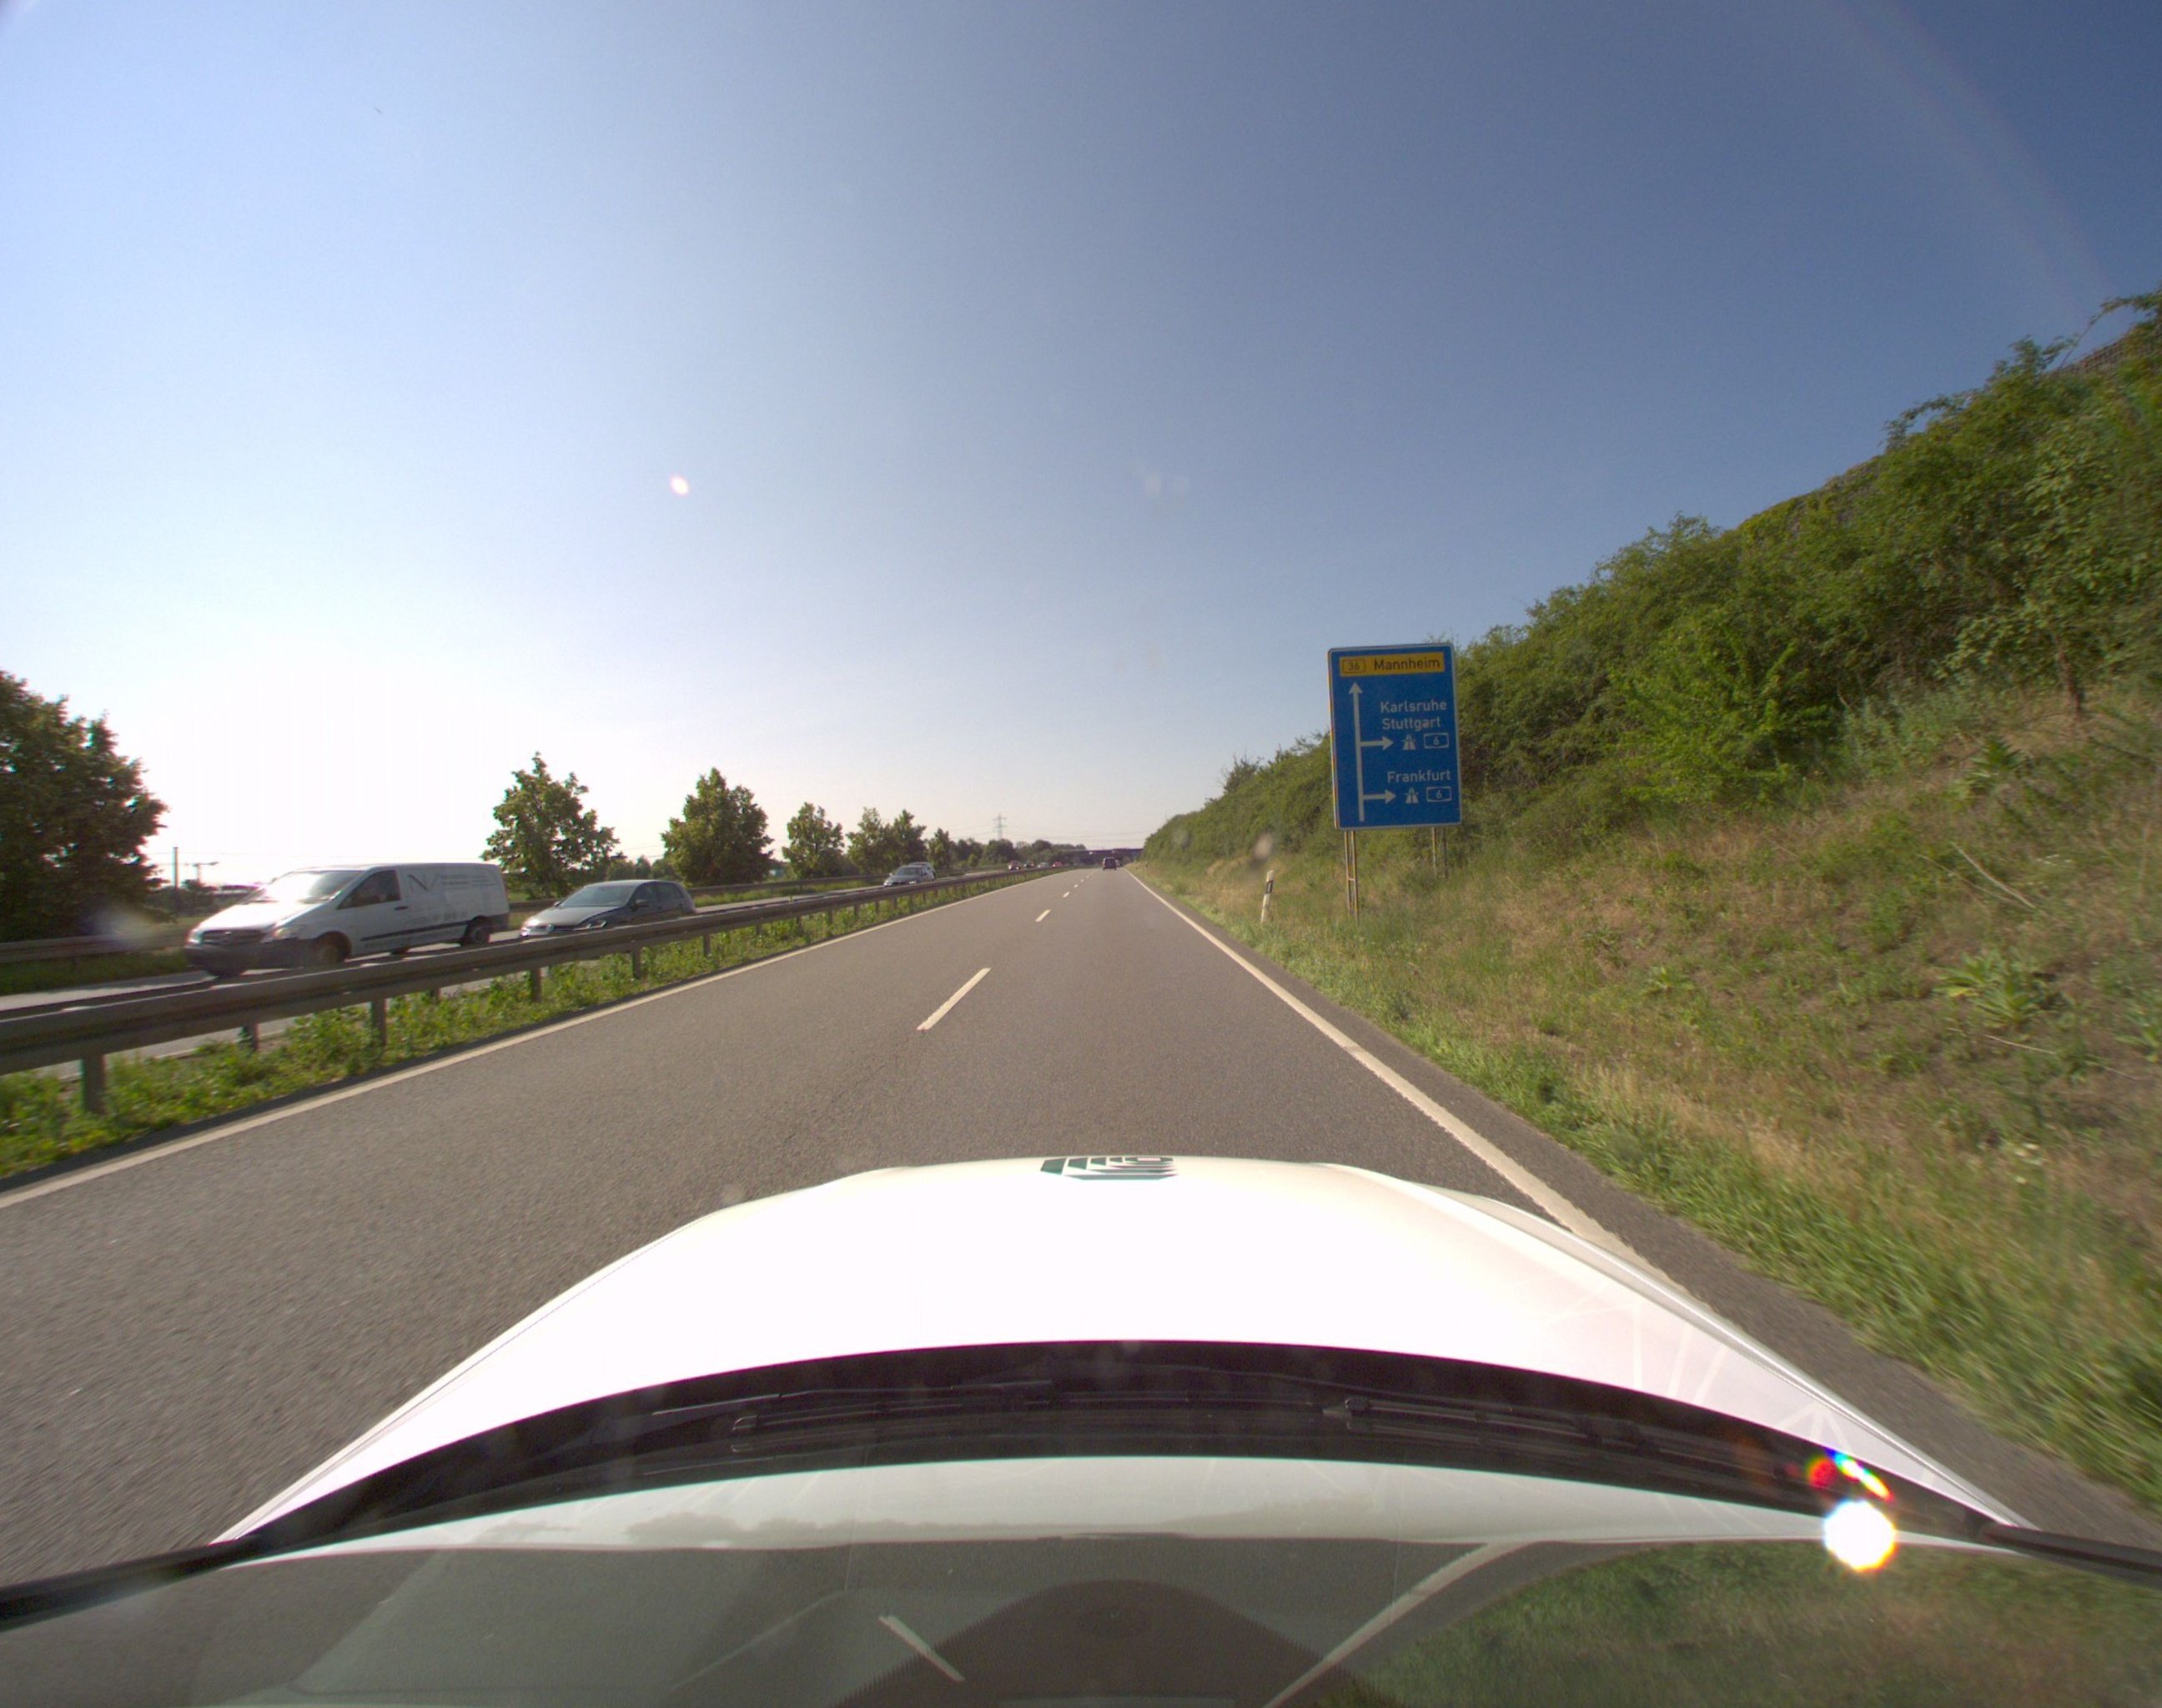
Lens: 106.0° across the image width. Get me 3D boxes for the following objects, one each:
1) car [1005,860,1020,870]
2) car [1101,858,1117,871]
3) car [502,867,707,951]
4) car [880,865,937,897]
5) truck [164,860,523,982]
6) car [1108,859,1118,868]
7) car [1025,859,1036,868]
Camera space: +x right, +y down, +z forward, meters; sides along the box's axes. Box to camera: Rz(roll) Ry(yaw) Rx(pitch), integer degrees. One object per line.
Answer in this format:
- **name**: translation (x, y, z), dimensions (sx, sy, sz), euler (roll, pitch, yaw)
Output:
- **car**: translation (-10.957, 1.779, 131.094), dimensions (1.836, 1.593, 4.776), euler (0, -1, 2)
- **car**: translation (3.730, 1.421, 106.964), dimensions (1.841, 1.644, 4.005), euler (-2, -1, 5)
- **car**: translation (-9.809, 1.050, 17.186), dimensions (1.832, 1.446, 4.039), euler (1, 0, 2)
- **car**: translation (-8.936, 1.366, 42.566), dimensions (1.805, 1.542, 4.457), euler (-2, -1, 3)
- **truck**: translation (-13.565, 1.086, 15.611), dimensions (1.915, 1.840, 5.294), euler (-1, 0, 2)
- **car**: translation (6.185, 1.894, 156.610), dimensions (1.788, 1.665, 4.005), euler (0, 0, 4)
- **car**: translation (-9.526, 1.828, 154.764), dimensions (1.719, 1.595, 4.223), euler (-1, -1, 2)
